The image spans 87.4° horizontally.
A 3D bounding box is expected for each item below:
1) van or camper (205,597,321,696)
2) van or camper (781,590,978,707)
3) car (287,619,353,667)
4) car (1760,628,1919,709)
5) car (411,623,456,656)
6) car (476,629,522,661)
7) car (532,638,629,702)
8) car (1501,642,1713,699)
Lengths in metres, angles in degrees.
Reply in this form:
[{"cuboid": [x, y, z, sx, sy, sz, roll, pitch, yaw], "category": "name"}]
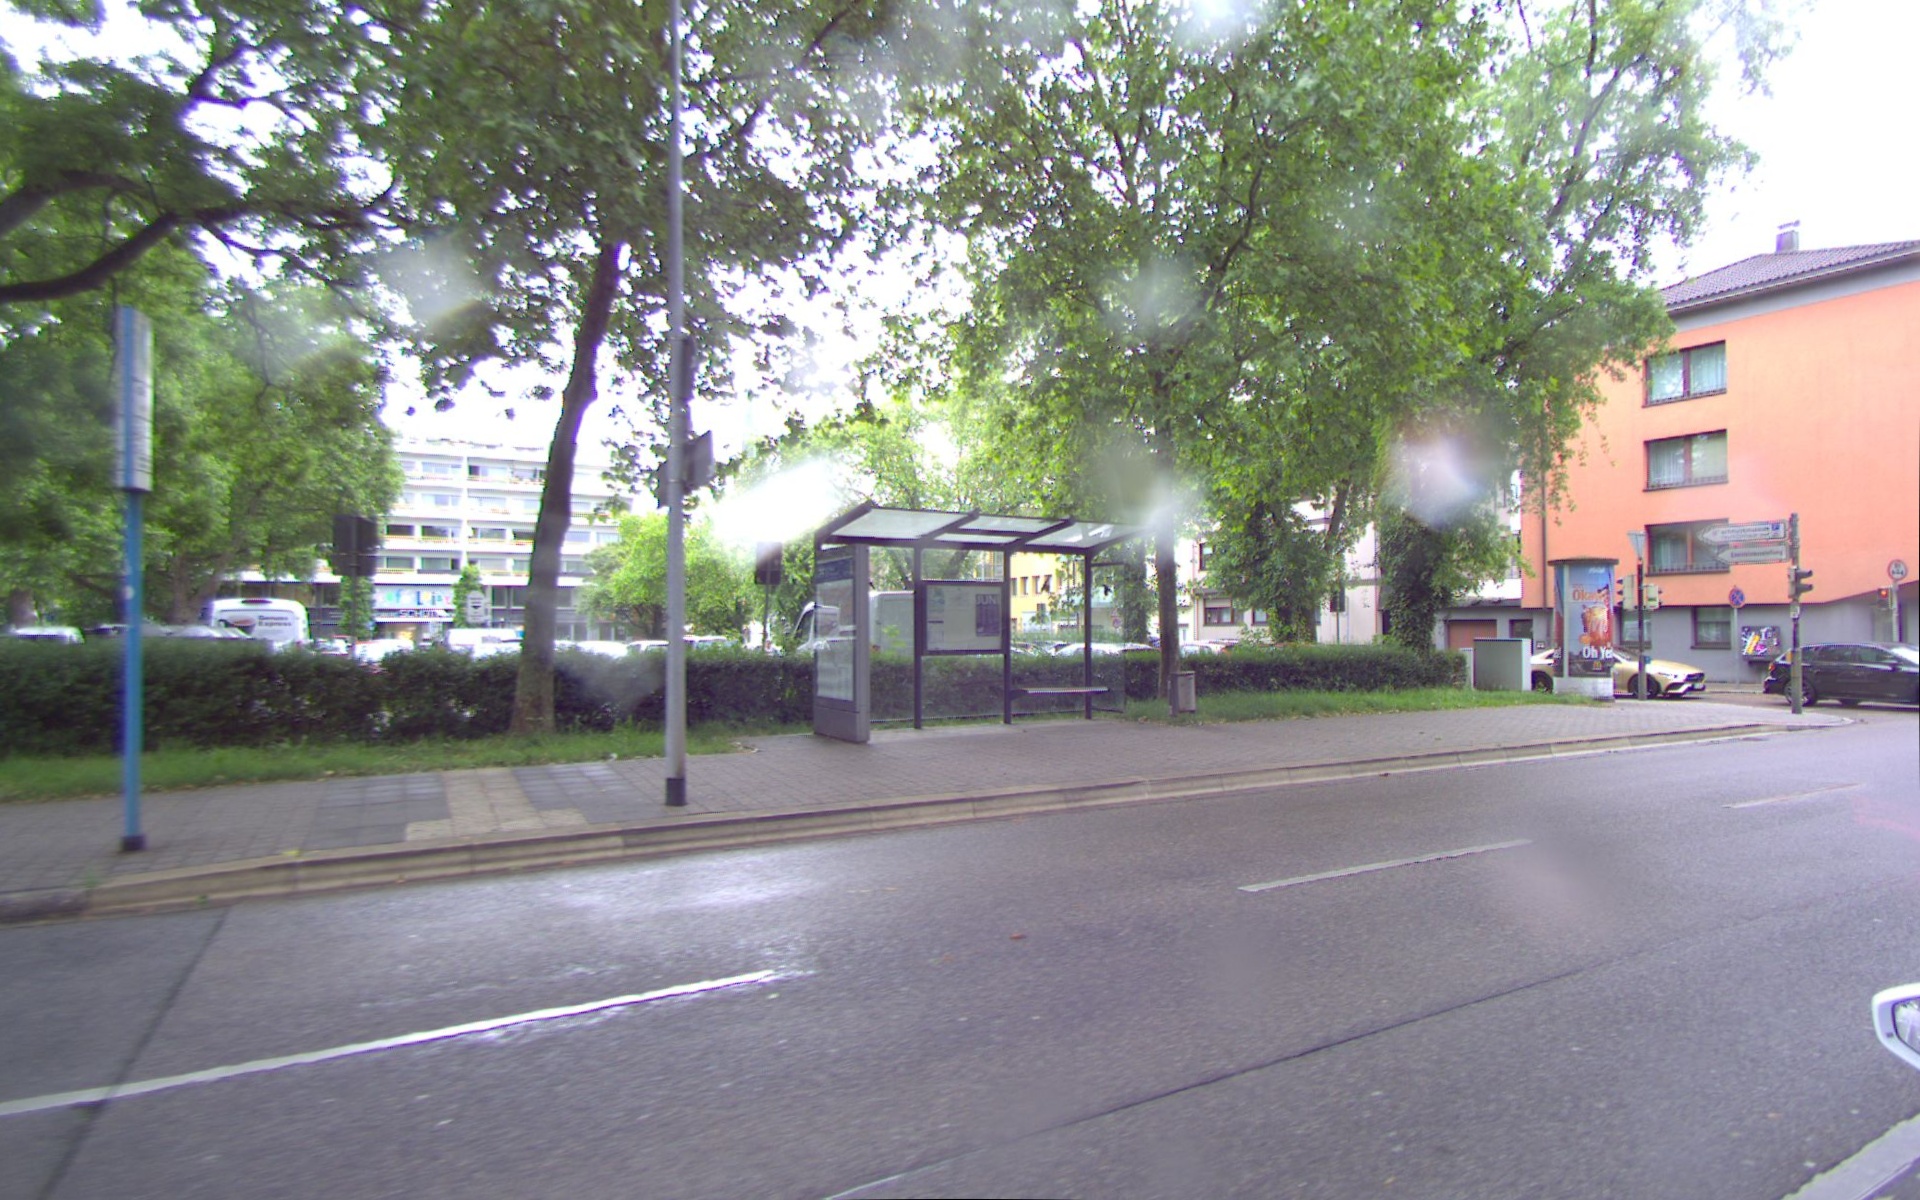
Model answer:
[{"cuboid": [-18.911, 1.235, 27.449, 2.073, 2.463, 4.310, 1, -2, -28], "category": "van or camper"}, {"cuboid": [-1.703, 0.907, 19.510, 1.978, 1.975, 4.572, 1, -2, -31], "category": "van or camper"}, {"cuboid": [-23.347, 1.540, 36.756, 1.876, 1.506, 3.966, 2, 0, -31], "category": "car"}, {"cuboid": [20.087, 1.442, 21.634, 1.822, 1.646, 4.123, 0, -3, -18], "category": "car"}, {"cuboid": [-30.771, 2.277, 58.633, 2.075, 1.745, 3.966, 2, 0, -31], "category": "car"}, {"cuboid": [-25.261, 2.441, 54.962, 1.876, 1.506, 3.966, 2, 0, -31], "category": "car"}, {"cuboid": [-10.810, 1.914, 28.425, 1.876, 1.506, 3.966, 2, 0, -31], "category": "car"}, {"cuboid": [17.697, 1.882, 27.746, 1.809, 1.422, 4.618, 1, -3, -28], "category": "car"}]
